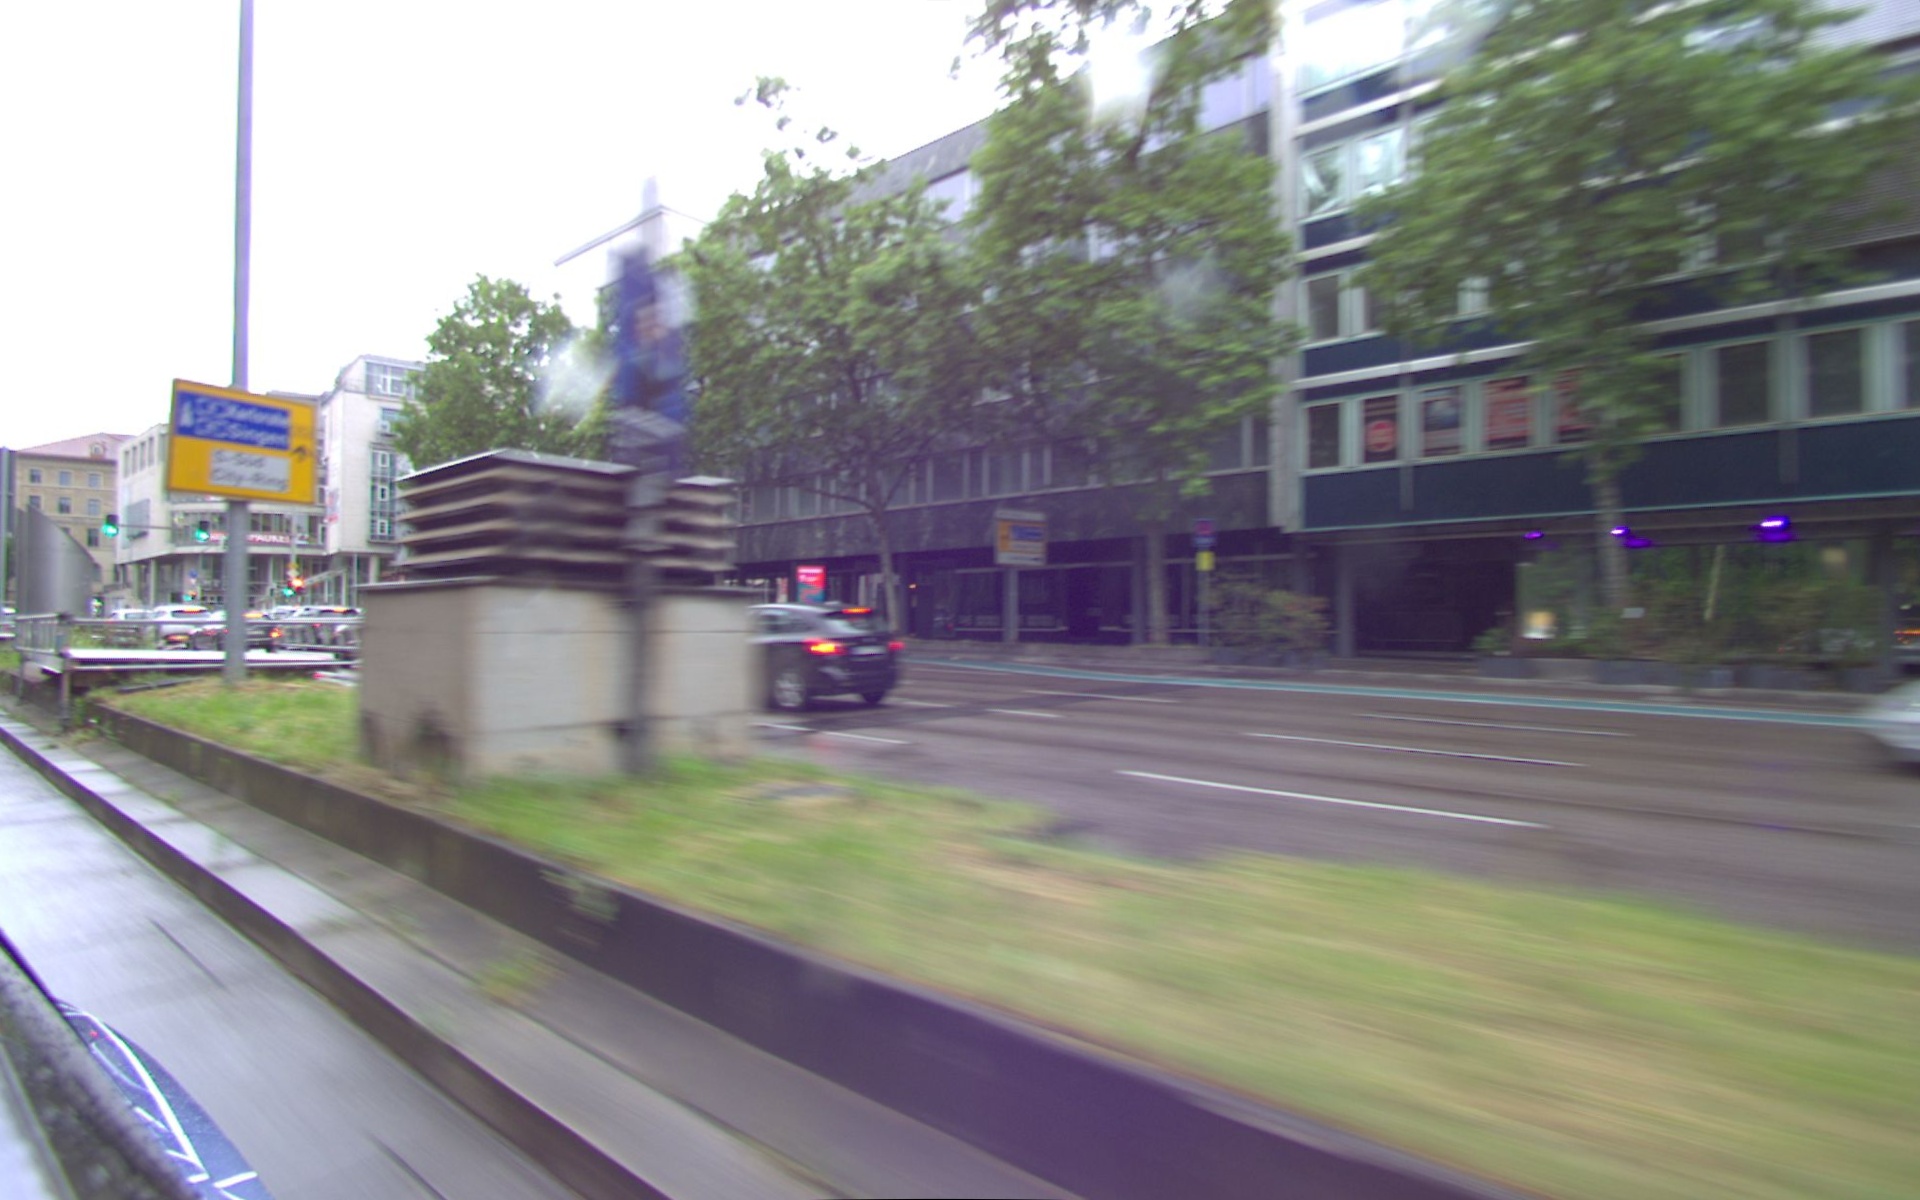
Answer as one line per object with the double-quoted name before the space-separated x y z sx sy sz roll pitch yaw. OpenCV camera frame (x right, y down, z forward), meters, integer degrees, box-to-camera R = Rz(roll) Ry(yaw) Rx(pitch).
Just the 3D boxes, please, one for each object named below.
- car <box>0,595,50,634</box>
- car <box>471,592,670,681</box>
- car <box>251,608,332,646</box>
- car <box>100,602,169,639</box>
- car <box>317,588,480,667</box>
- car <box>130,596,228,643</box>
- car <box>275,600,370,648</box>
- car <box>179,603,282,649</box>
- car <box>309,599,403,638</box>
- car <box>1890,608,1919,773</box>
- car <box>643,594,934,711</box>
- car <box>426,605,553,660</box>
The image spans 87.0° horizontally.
"car" -38.432 0.575 41.015 4.162 1.493 1.824 0 -1 41
"car" -7.893 0.678 20.267 4.830 1.585 1.716 0 -1 42
"car" -31.465 1.230 47.602 4.654 1.630 1.741 0 0 37
"car" -35.107 0.860 43.030 3.429 1.487 1.699 0 -1 41
"car" -14.067 0.653 25.231 5.104 1.780 1.817 0 -1 40
"car" -30.112 0.733 38.960 4.792 1.698 1.859 0 -1 38
"car" -23.900 0.873 37.887 4.410 1.678 1.824 0 -1 41
"car" -25.175 0.851 34.863 4.914 1.462 1.824 0 -1 41
"car" -26.232 0.758 43.908 4.581 1.616 1.975 0 0 38
"car" 10.809 0.779 7.976 4.950 1.420 1.948 0 -1 38
"car" -2.751 0.722 15.698 4.535 1.564 1.896 0 -1 38
"car" -13.861 0.904 29.694 4.567 1.502 1.701 0 -1 41
